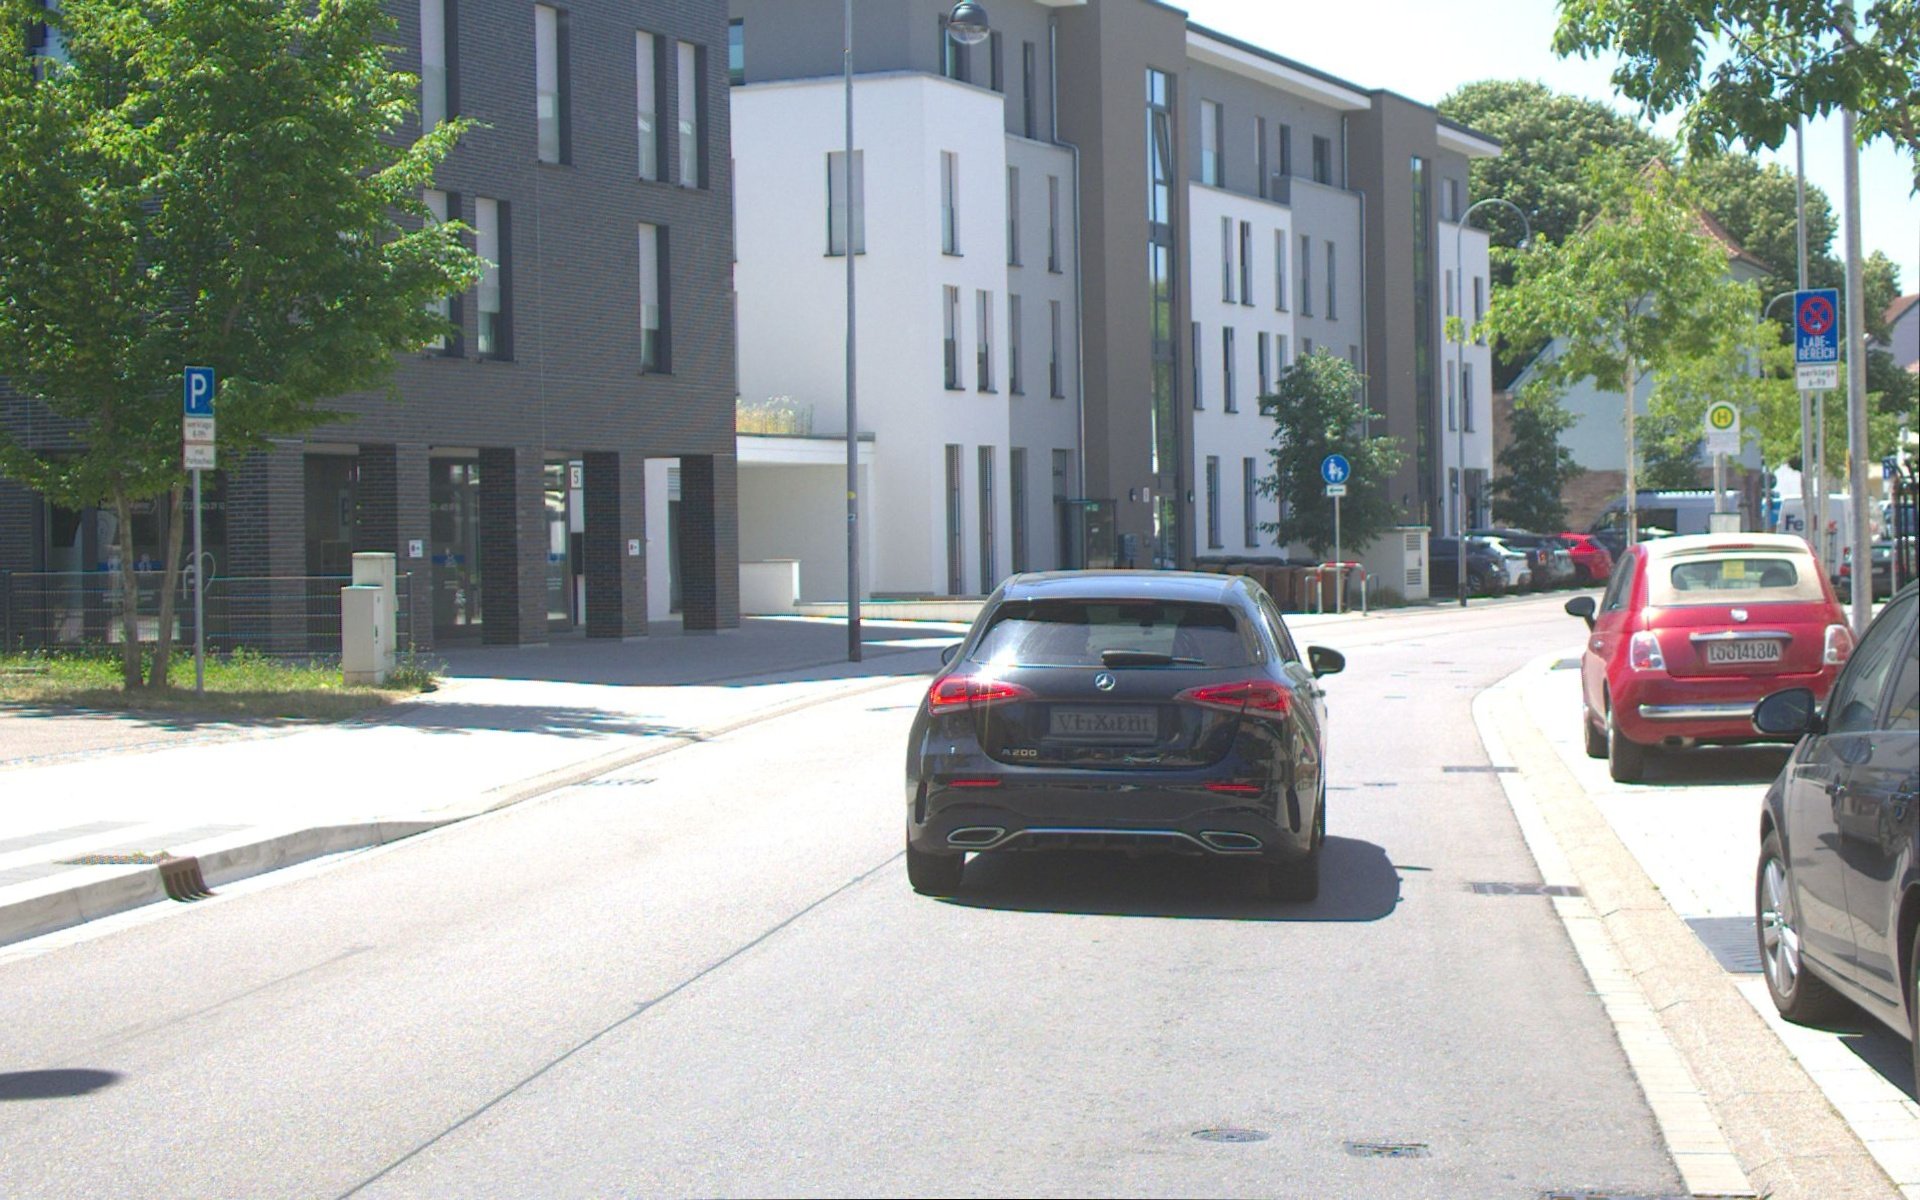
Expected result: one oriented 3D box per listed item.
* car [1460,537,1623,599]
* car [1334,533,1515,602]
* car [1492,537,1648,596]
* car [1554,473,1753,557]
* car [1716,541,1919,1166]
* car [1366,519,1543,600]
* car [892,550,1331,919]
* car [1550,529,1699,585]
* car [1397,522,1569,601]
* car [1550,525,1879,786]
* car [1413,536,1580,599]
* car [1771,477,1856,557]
[{"bbox_3d":[15.910,-0.878,94.049,3.992,1.656,1.997,0,1,26],"label":"car"},{"bbox_3d":[11.448,-0.806,84.648,3.992,1.656,1.997,0,1,26],"label":"car"},{"bbox_3d":[17.329,-0.952,97.672,3.992,1.656,1.997,0,1,26],"label":"car"},{"bbox_3d":[21.685,-2.638,107.549,5.650,2.570,2.512,0,1,27],"label":"car"},{"bbox_3d":[3.212,0.564,9.116,1.750,1.481,3.999,-3,0,5],"label":"car"},{"bbox_3d":[12.504,-1.026,86.919,3.993,2.007,1.997,0,1,27],"label":"car"},{"bbox_3d":[0.832,0.516,16.308,1.763,1.452,4.437,1,1,6],"label":"car"},{"bbox_3d":[19.861,-1.295,102.775,3.992,1.656,1.997,0,1,26],"label":"car"},{"bbox_3d":[13.563,-1.001,89.160,3.993,2.007,1.997,0,1,27],"label":"car"},{"bbox_3d":[4.829,0.311,22.394,1.606,1.525,3.491,-2,1,5],"label":"car"},{"bbox_3d":[14.301,-0.873,91.644,3.992,1.656,1.997,0,1,26],"label":"car"},{"bbox_3d":[21.917,-2.106,88.218,1.995,2.007,3.997,0,1,16],"label":"car"}]
